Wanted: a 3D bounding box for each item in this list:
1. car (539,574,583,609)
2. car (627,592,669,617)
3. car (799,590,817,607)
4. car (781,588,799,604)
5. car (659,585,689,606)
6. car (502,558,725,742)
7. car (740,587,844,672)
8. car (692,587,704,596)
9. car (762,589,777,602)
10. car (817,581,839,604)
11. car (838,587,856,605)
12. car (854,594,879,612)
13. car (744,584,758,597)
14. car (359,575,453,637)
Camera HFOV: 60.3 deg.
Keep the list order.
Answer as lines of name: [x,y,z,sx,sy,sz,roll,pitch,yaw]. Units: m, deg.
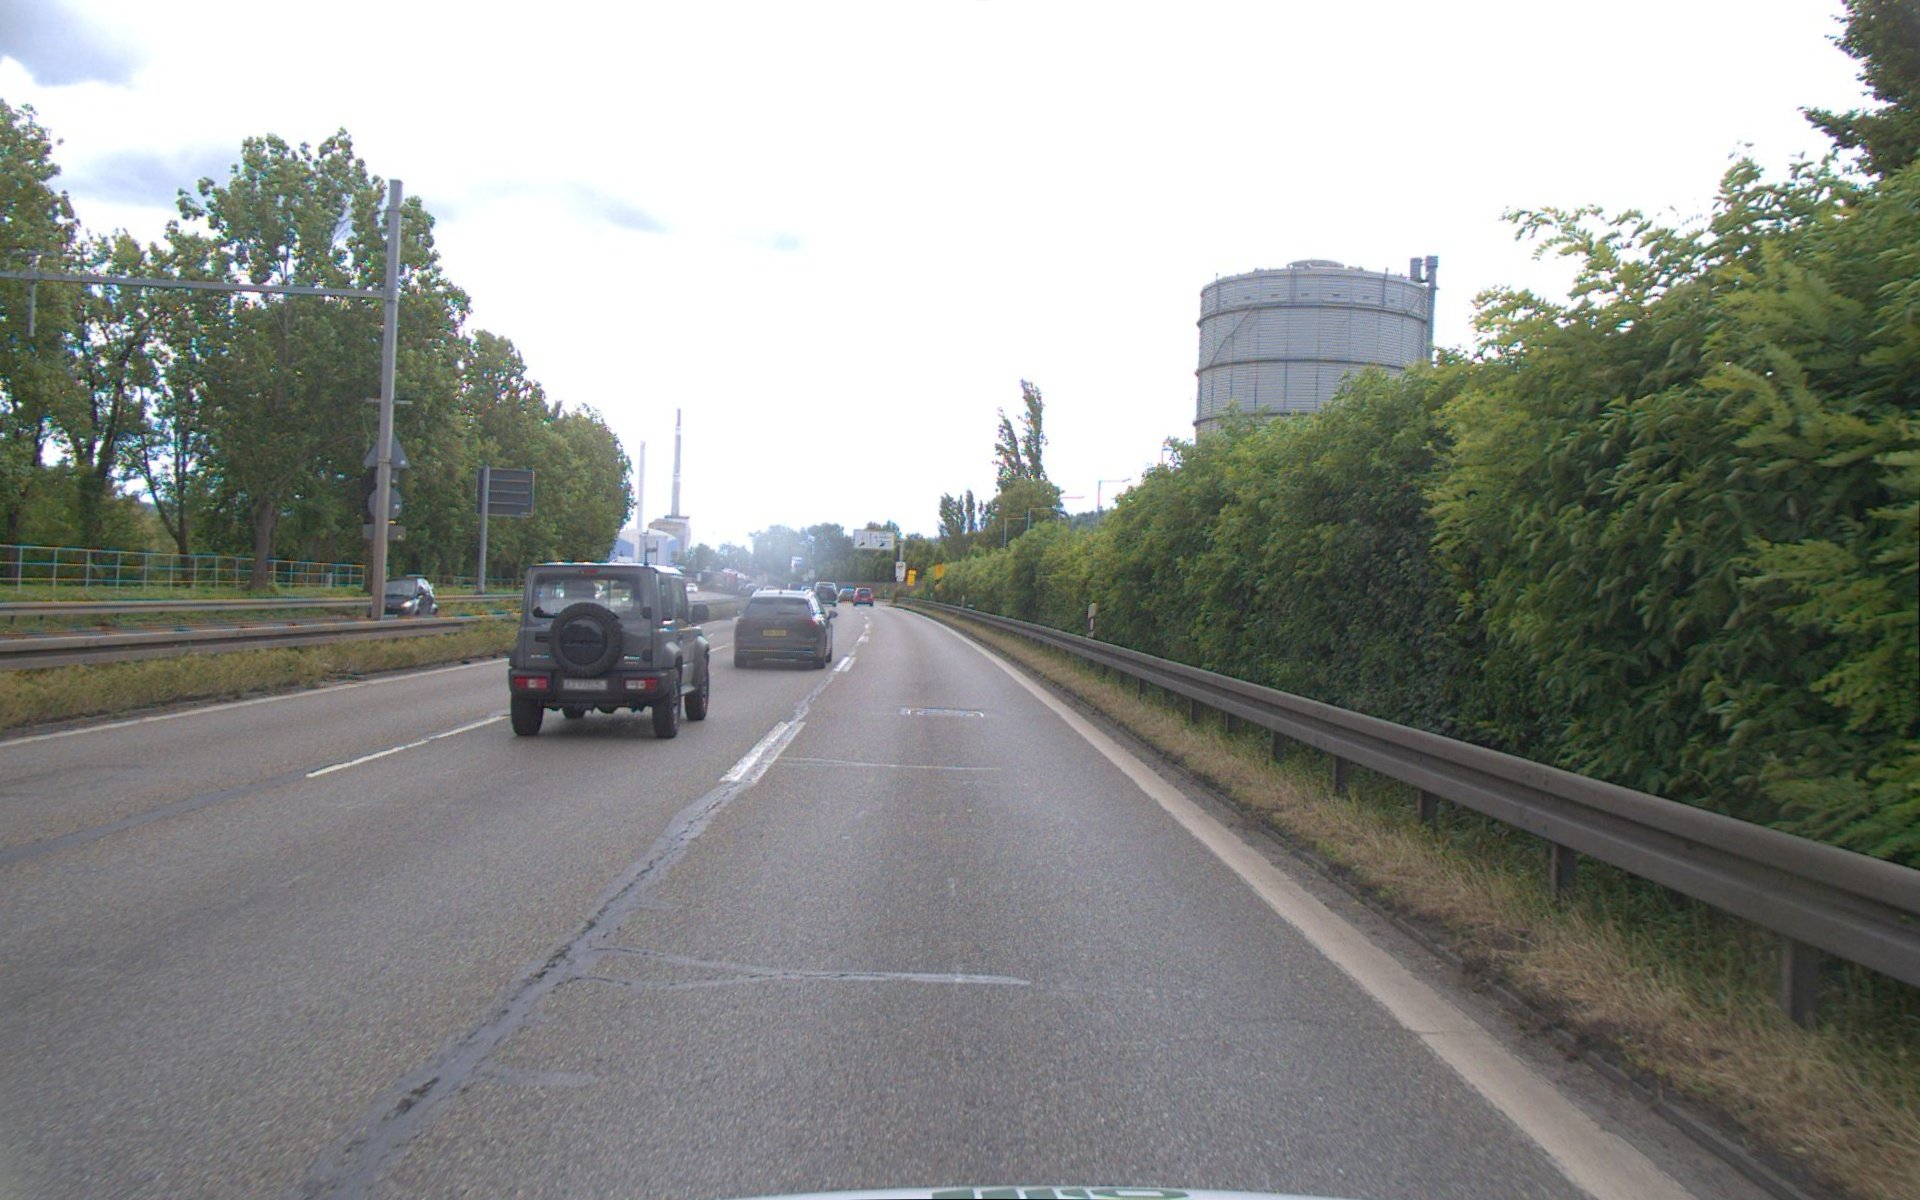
car: [-22.506,-0.461,93.443,1.578,1.916,4.559,1,0,-3]
car: [-19.421,0.256,103.092,1.824,1.490,5.548,1,0,-3]
car: [-18.321,-0.194,199.449,1.975,1.968,4.892,1,0,-7]
car: [-22.464,-0.556,218.723,1.976,1.968,4.890,1,0,-9]
car: [-20.678,-0.300,119.833,1.627,1.449,3.909,1,0,-3]
car: [-3.521,0.455,17.472,1.663,1.715,3.998,0,0,-2]
car: [-3.312,0.520,32.421,1.810,1.448,4.894,3,0,-6]
car: [-40.553,-1.332,256.073,1.583,1.410,3.727,2,0,-7]
car: [-24.932,-0.590,216.581,1.667,1.772,4.383,1,0,-10]
car: [-10.557,-0.607,131.689,1.665,1.772,3.996,1,0,-5]
car: [-11.570,-0.431,169.304,1.665,1.772,4.387,1,0,-6]
car: [-8.156,0.236,143.783,1.937,1.448,4.893,1,0,-6]
car: [-32.532,-1.461,257.175,1.976,1.968,4.890,1,0,-9]
car: [-17.263,0.178,51.711,1.691,1.806,3.741,1,0,-1]
